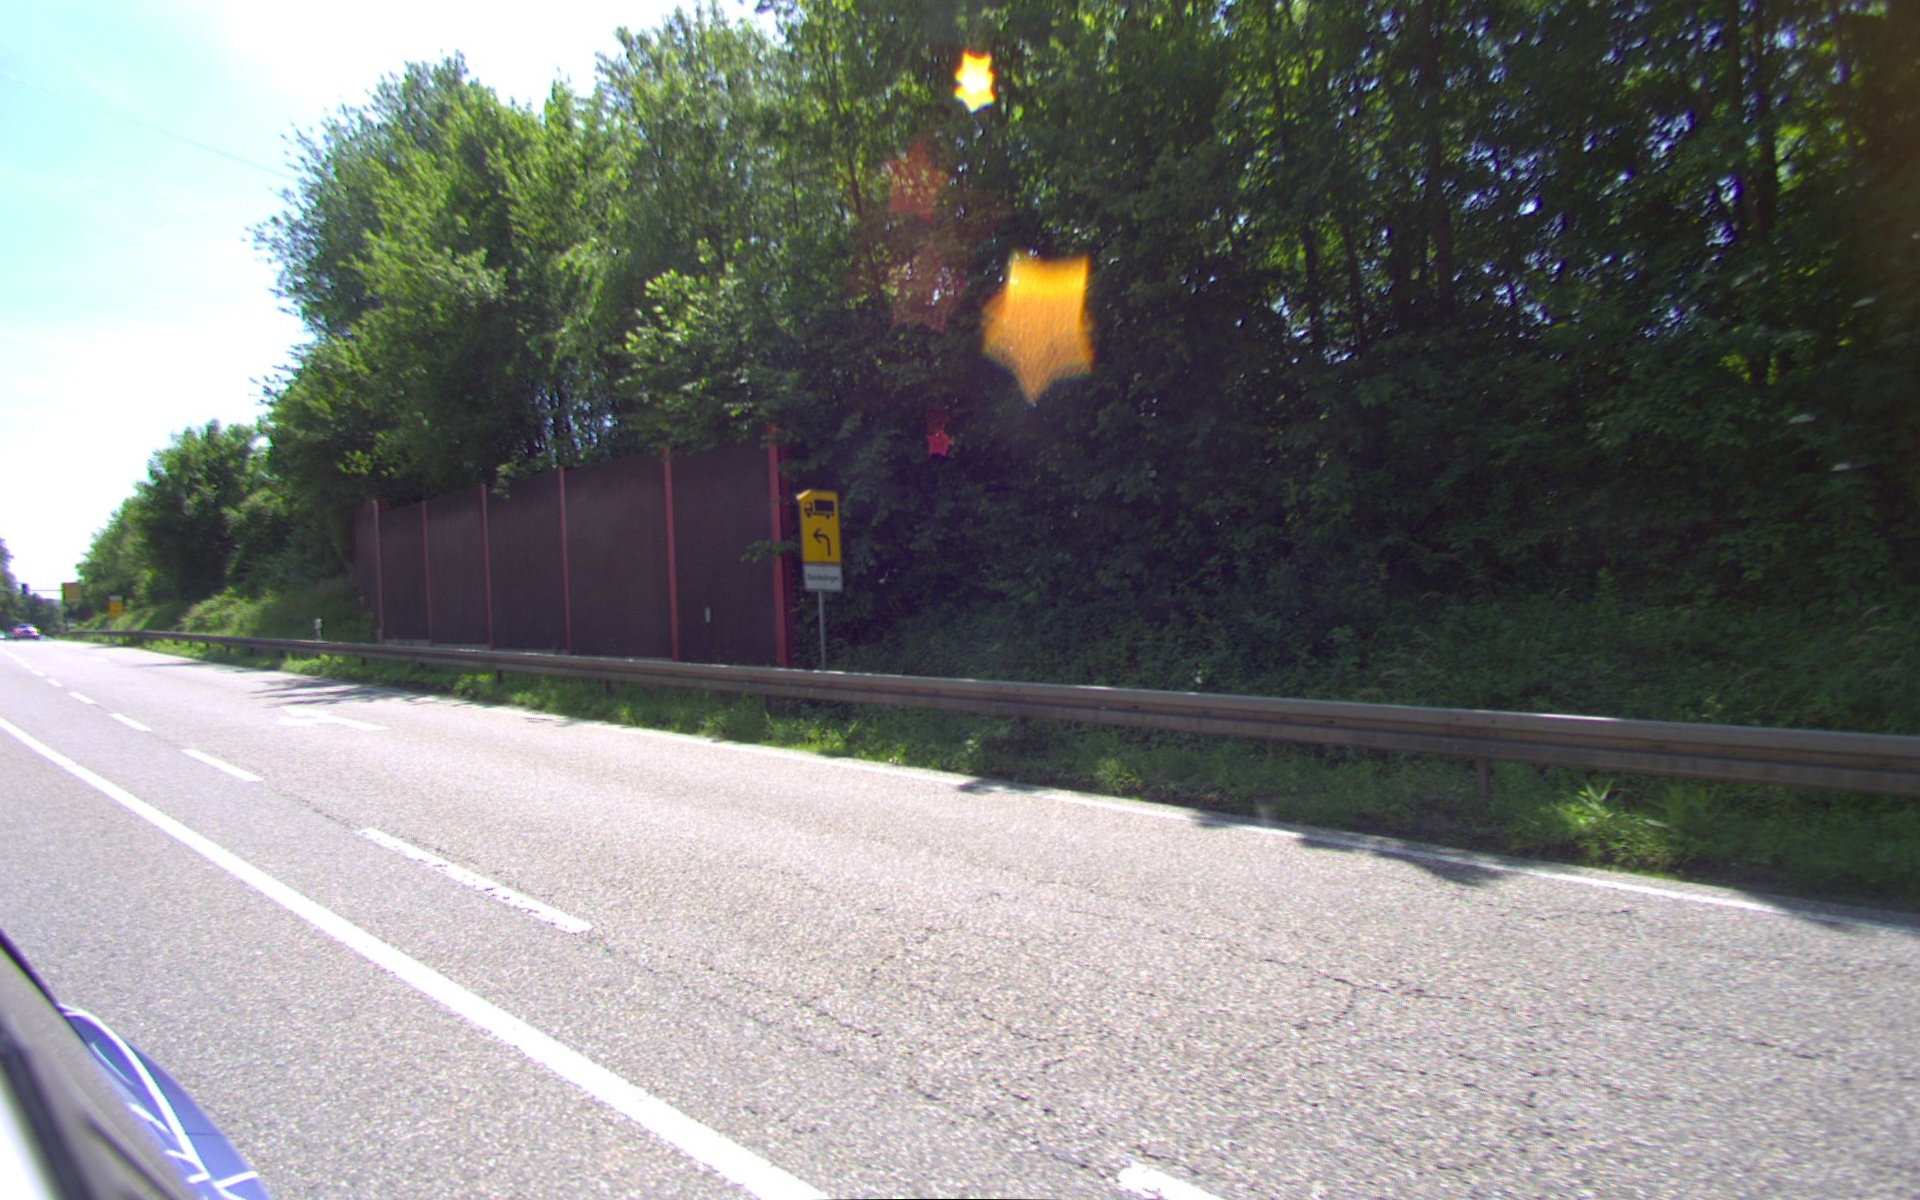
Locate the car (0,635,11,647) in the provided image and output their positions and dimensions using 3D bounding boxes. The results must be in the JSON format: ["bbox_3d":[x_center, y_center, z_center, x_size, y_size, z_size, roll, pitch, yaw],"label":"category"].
[{"bbox_3d":[-151.895,6.507,160.295,1.969,1.815,4.006,-3,0,-40],"label":"car"}]

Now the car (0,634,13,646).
[{"bbox_3d":[-161.714,6.756,171.124,1.969,2.029,4.006,-3,0,-40],"label":"car"}]

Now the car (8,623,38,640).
[{"bbox_3d":[-82.287,2.765,88.839,3.873,1.446,1.785,-2,-2,45],"label":"car"}]
